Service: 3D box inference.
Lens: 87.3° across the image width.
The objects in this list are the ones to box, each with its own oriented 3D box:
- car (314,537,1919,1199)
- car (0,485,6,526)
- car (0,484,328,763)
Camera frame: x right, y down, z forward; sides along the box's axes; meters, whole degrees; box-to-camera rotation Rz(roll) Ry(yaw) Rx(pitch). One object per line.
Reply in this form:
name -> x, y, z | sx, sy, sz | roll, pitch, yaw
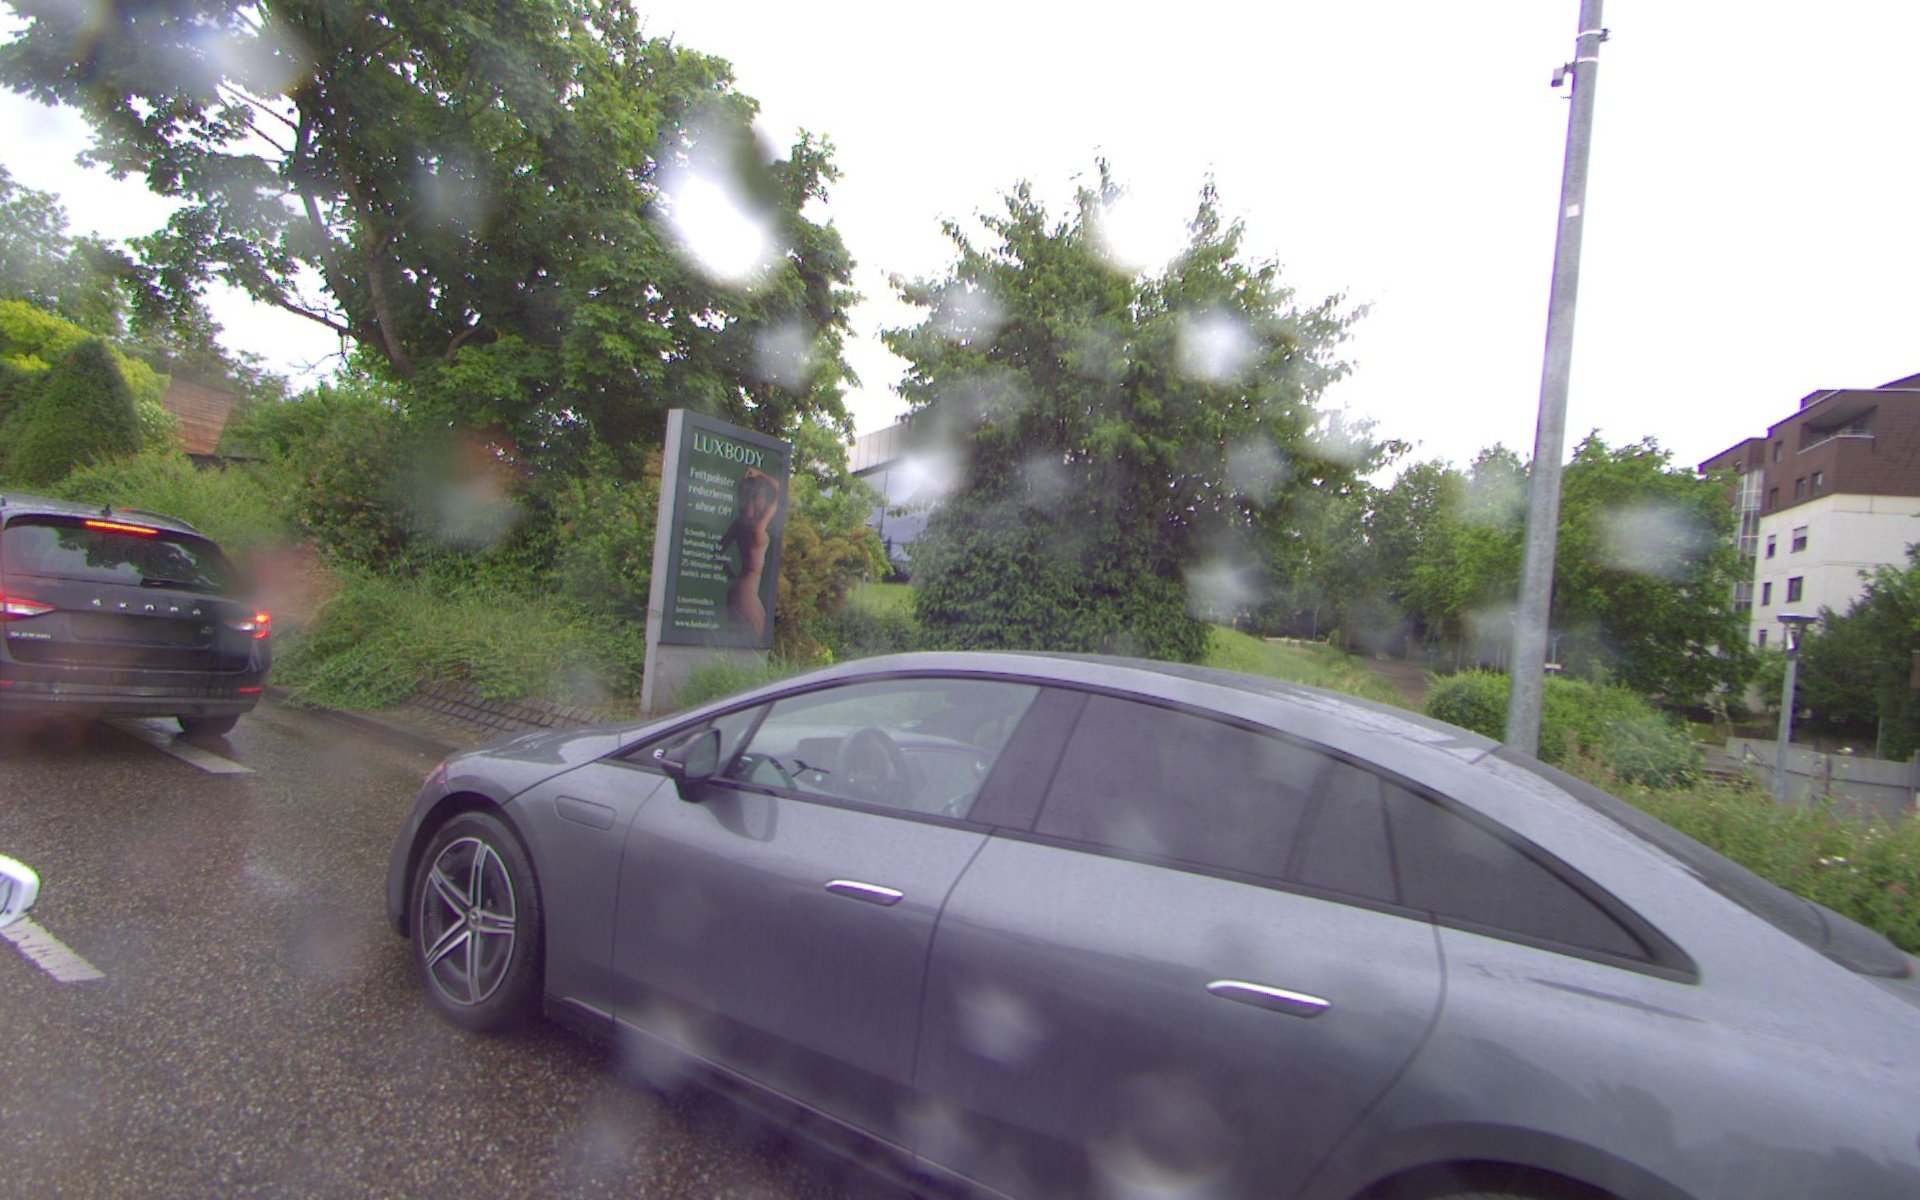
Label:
car -> 0.248, 0.871, 3.179 | 4.727, 1.483, 1.842 | 8, -2, 31
car -> -12.663, -0.827, 11.204 | 4.048, 1.483, 1.842 | 8, -2, 31
car -> -6.544, -0.026, 7.053 | 4.278, 1.483, 1.841 | 7, -2, 33
